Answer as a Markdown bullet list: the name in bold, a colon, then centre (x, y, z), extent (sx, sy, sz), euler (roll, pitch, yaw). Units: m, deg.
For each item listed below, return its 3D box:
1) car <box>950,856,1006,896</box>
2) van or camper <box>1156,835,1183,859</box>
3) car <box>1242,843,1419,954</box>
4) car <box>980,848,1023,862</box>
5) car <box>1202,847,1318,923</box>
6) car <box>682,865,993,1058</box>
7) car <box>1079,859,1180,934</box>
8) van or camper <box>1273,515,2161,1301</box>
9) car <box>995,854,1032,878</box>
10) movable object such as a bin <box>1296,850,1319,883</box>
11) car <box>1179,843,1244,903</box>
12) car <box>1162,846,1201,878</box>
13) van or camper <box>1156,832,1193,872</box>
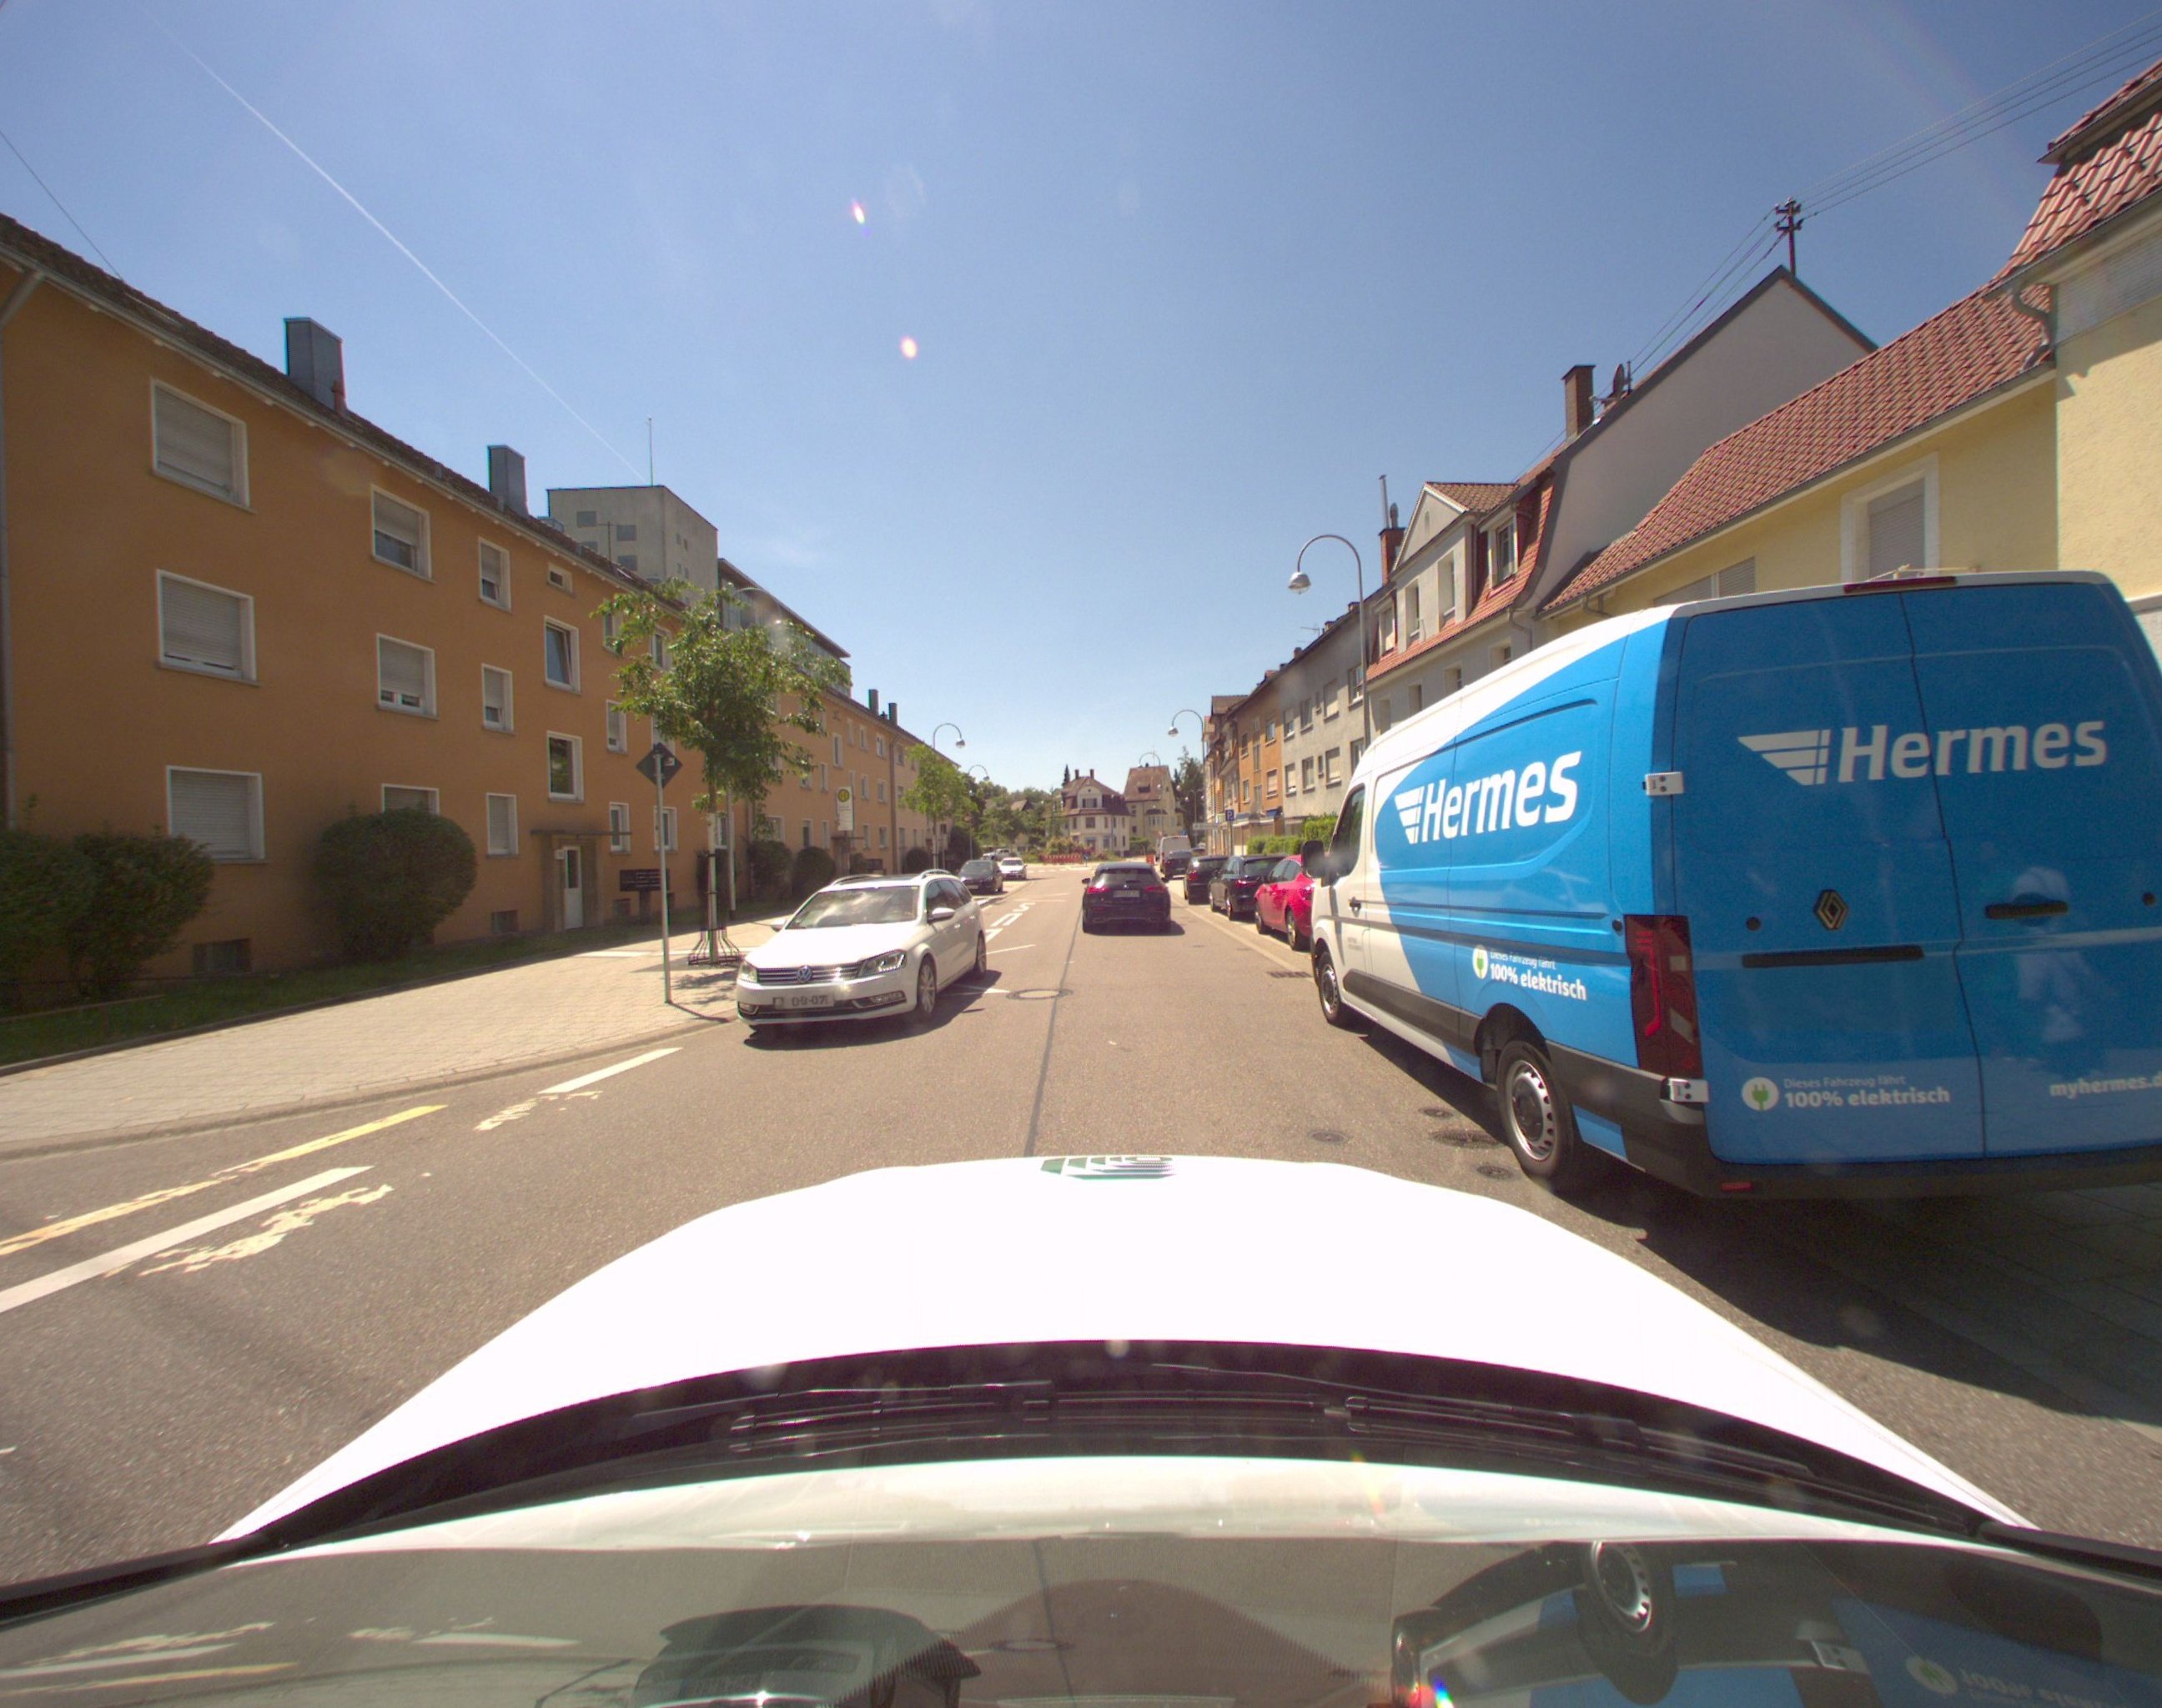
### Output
- **car**: centre (-4.494, 0.917, 36.189), extent (1.851, 1.506, 4.563), euler (-2, 1, 0)
- **van or camper**: centre (10.279, -0.830, 94.740), extent (2.187, 2.610, 4.020), euler (-1, 1, 20)
- **car**: centre (4.108, 0.631, 14.148), extent (1.797, 1.530, 4.151), euler (-4, 1, 1)
- **car**: centre (-10.490, 0.110, 107.239), extent (5.444, 1.816, 1.978), euler (-1, 1, -37)
- **car**: centre (4.221, 0.652, 19.984), extent (1.797, 1.475, 4.721), euler (-5, 1, 1)
- **car**: centre (-2.381, 0.982, 9.319), extent (1.985, 1.507, 4.292), euler (-2, 1, 3)
- **car**: centre (1.017, 0.834, 17.782), extent (1.946, 1.427, 4.002), euler (-1, 0, 2)
- **van or camper**: centre (3.060, 0.172, 5.746), extent (2.100, 2.467, 6.181), euler (-4, 0, 3)
- **car**: centre (-4.311, 0.775, 52.798), extent (1.987, 1.420, 4.088), euler (-2, 0, 0)
- **movable object such as a bin**: centre (7.719, 0.427, 27.746), extent (0.551, 1.085, 0.776), euler (-2, 0, 3)
- **car**: centre (4.124, 0.546, 26.241), extent (1.720, 1.633, 4.007), euler (-4, 1, 6)
- **car**: centre (5.764, 0.389, 46.328), extent (1.883, 1.607, 4.377), euler (-4, 0, 10)
- **van or camper**: centre (6.594, -0.200, 57.825), extent (2.156, 2.588, 5.771), euler (-3, 1, 3)
